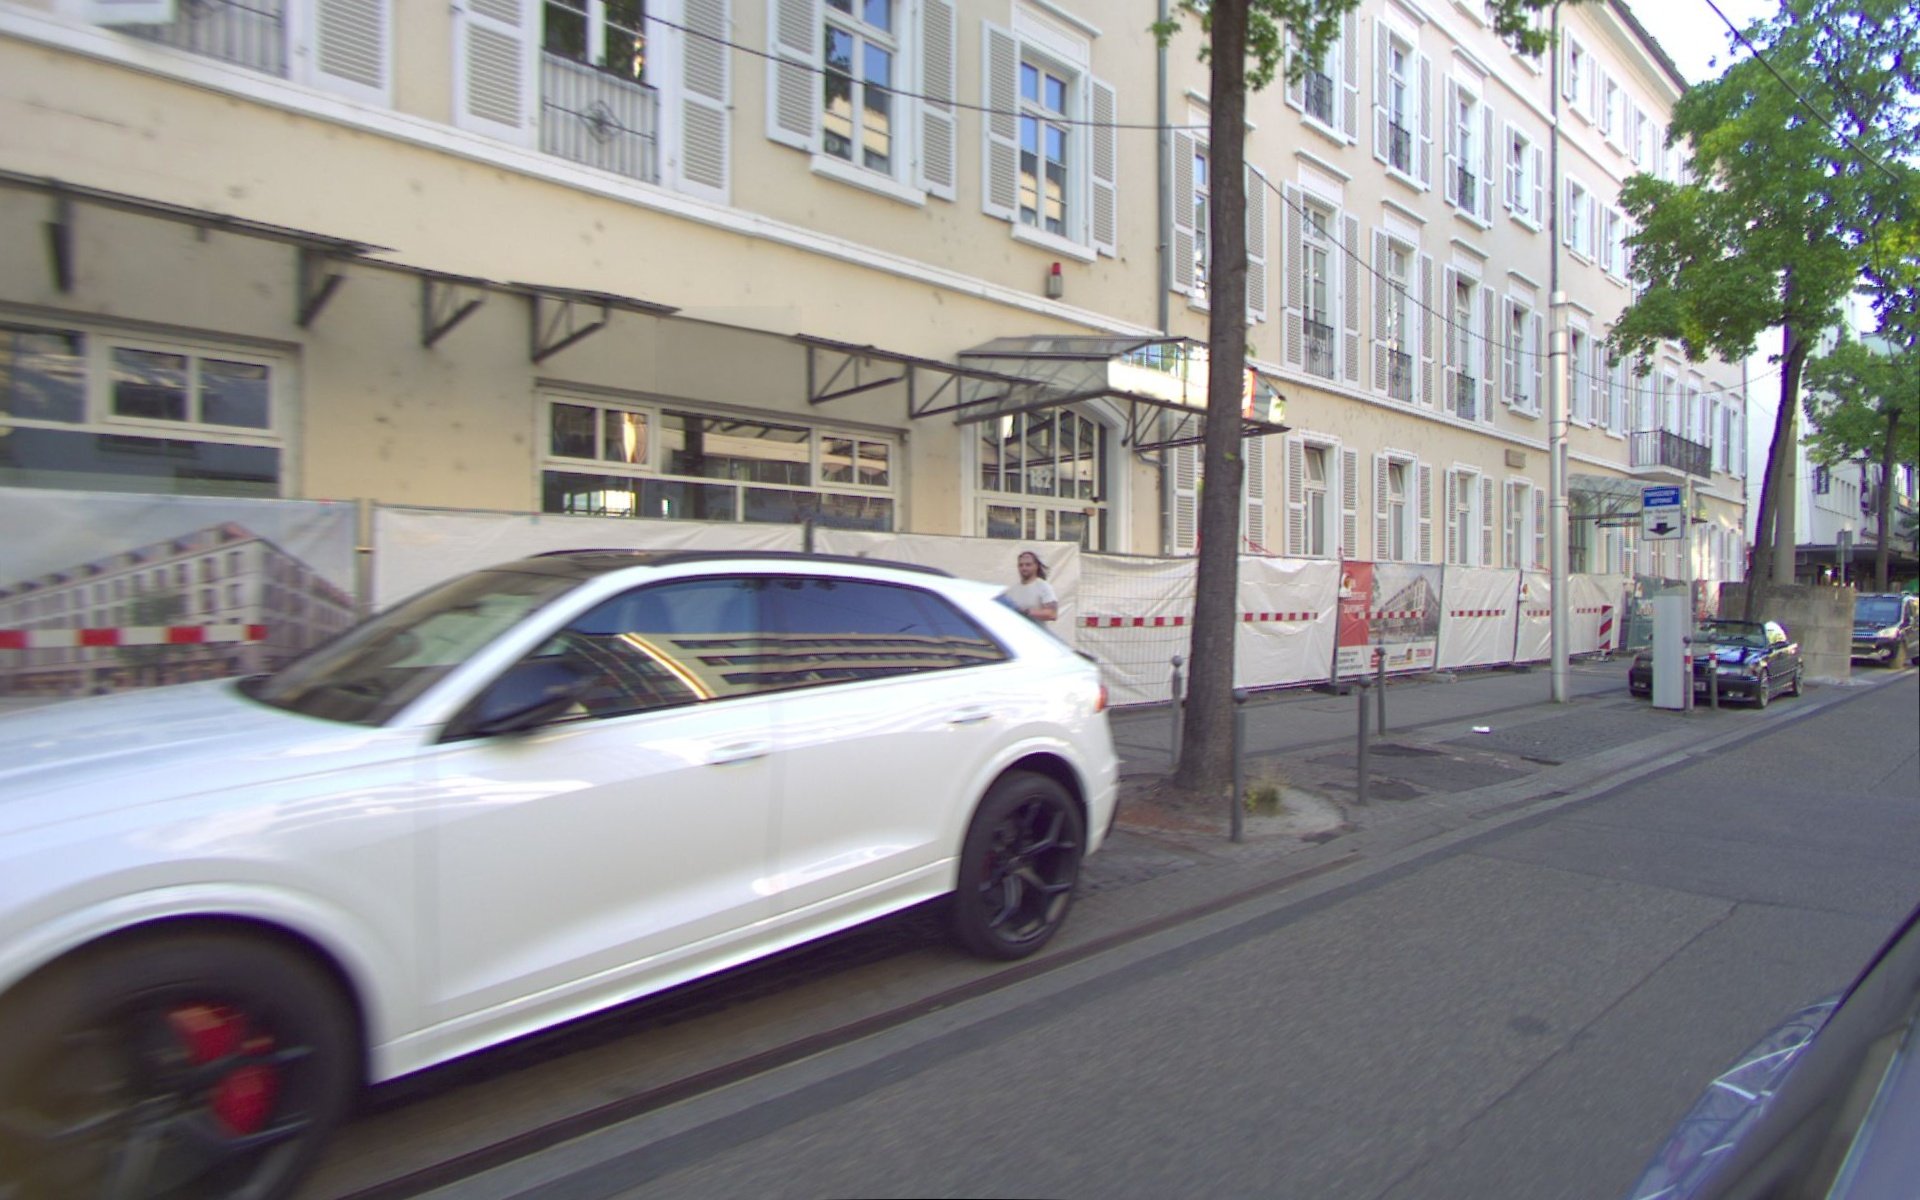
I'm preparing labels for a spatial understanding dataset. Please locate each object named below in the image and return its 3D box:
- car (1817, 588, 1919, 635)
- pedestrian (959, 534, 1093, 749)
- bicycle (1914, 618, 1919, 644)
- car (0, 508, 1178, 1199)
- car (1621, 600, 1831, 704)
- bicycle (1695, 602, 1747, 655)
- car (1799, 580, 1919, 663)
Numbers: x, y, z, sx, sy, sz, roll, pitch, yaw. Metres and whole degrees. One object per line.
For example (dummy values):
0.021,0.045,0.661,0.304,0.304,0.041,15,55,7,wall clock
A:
34.495,0.398,37.434,1.831,1.628,3.944,-2,1,-33,car
0.625,0.358,9.577,1.034,1.910,0.714,0,1,-41,pedestrian
29.399,0.943,29.558,1.531,0.757,1.761,0,2,-23,bicycle
-1.385,0.599,3.988,4.886,1.708,2.000,-1,3,-44,car
12.278,0.723,16.132,4.253,1.327,1.798,0,3,-41,car
16.466,0.594,21.921,0.650,1.084,1.656,3,1,30,bicycle
22.423,0.456,24.811,4.236,1.815,1.958,0,2,-38,car
